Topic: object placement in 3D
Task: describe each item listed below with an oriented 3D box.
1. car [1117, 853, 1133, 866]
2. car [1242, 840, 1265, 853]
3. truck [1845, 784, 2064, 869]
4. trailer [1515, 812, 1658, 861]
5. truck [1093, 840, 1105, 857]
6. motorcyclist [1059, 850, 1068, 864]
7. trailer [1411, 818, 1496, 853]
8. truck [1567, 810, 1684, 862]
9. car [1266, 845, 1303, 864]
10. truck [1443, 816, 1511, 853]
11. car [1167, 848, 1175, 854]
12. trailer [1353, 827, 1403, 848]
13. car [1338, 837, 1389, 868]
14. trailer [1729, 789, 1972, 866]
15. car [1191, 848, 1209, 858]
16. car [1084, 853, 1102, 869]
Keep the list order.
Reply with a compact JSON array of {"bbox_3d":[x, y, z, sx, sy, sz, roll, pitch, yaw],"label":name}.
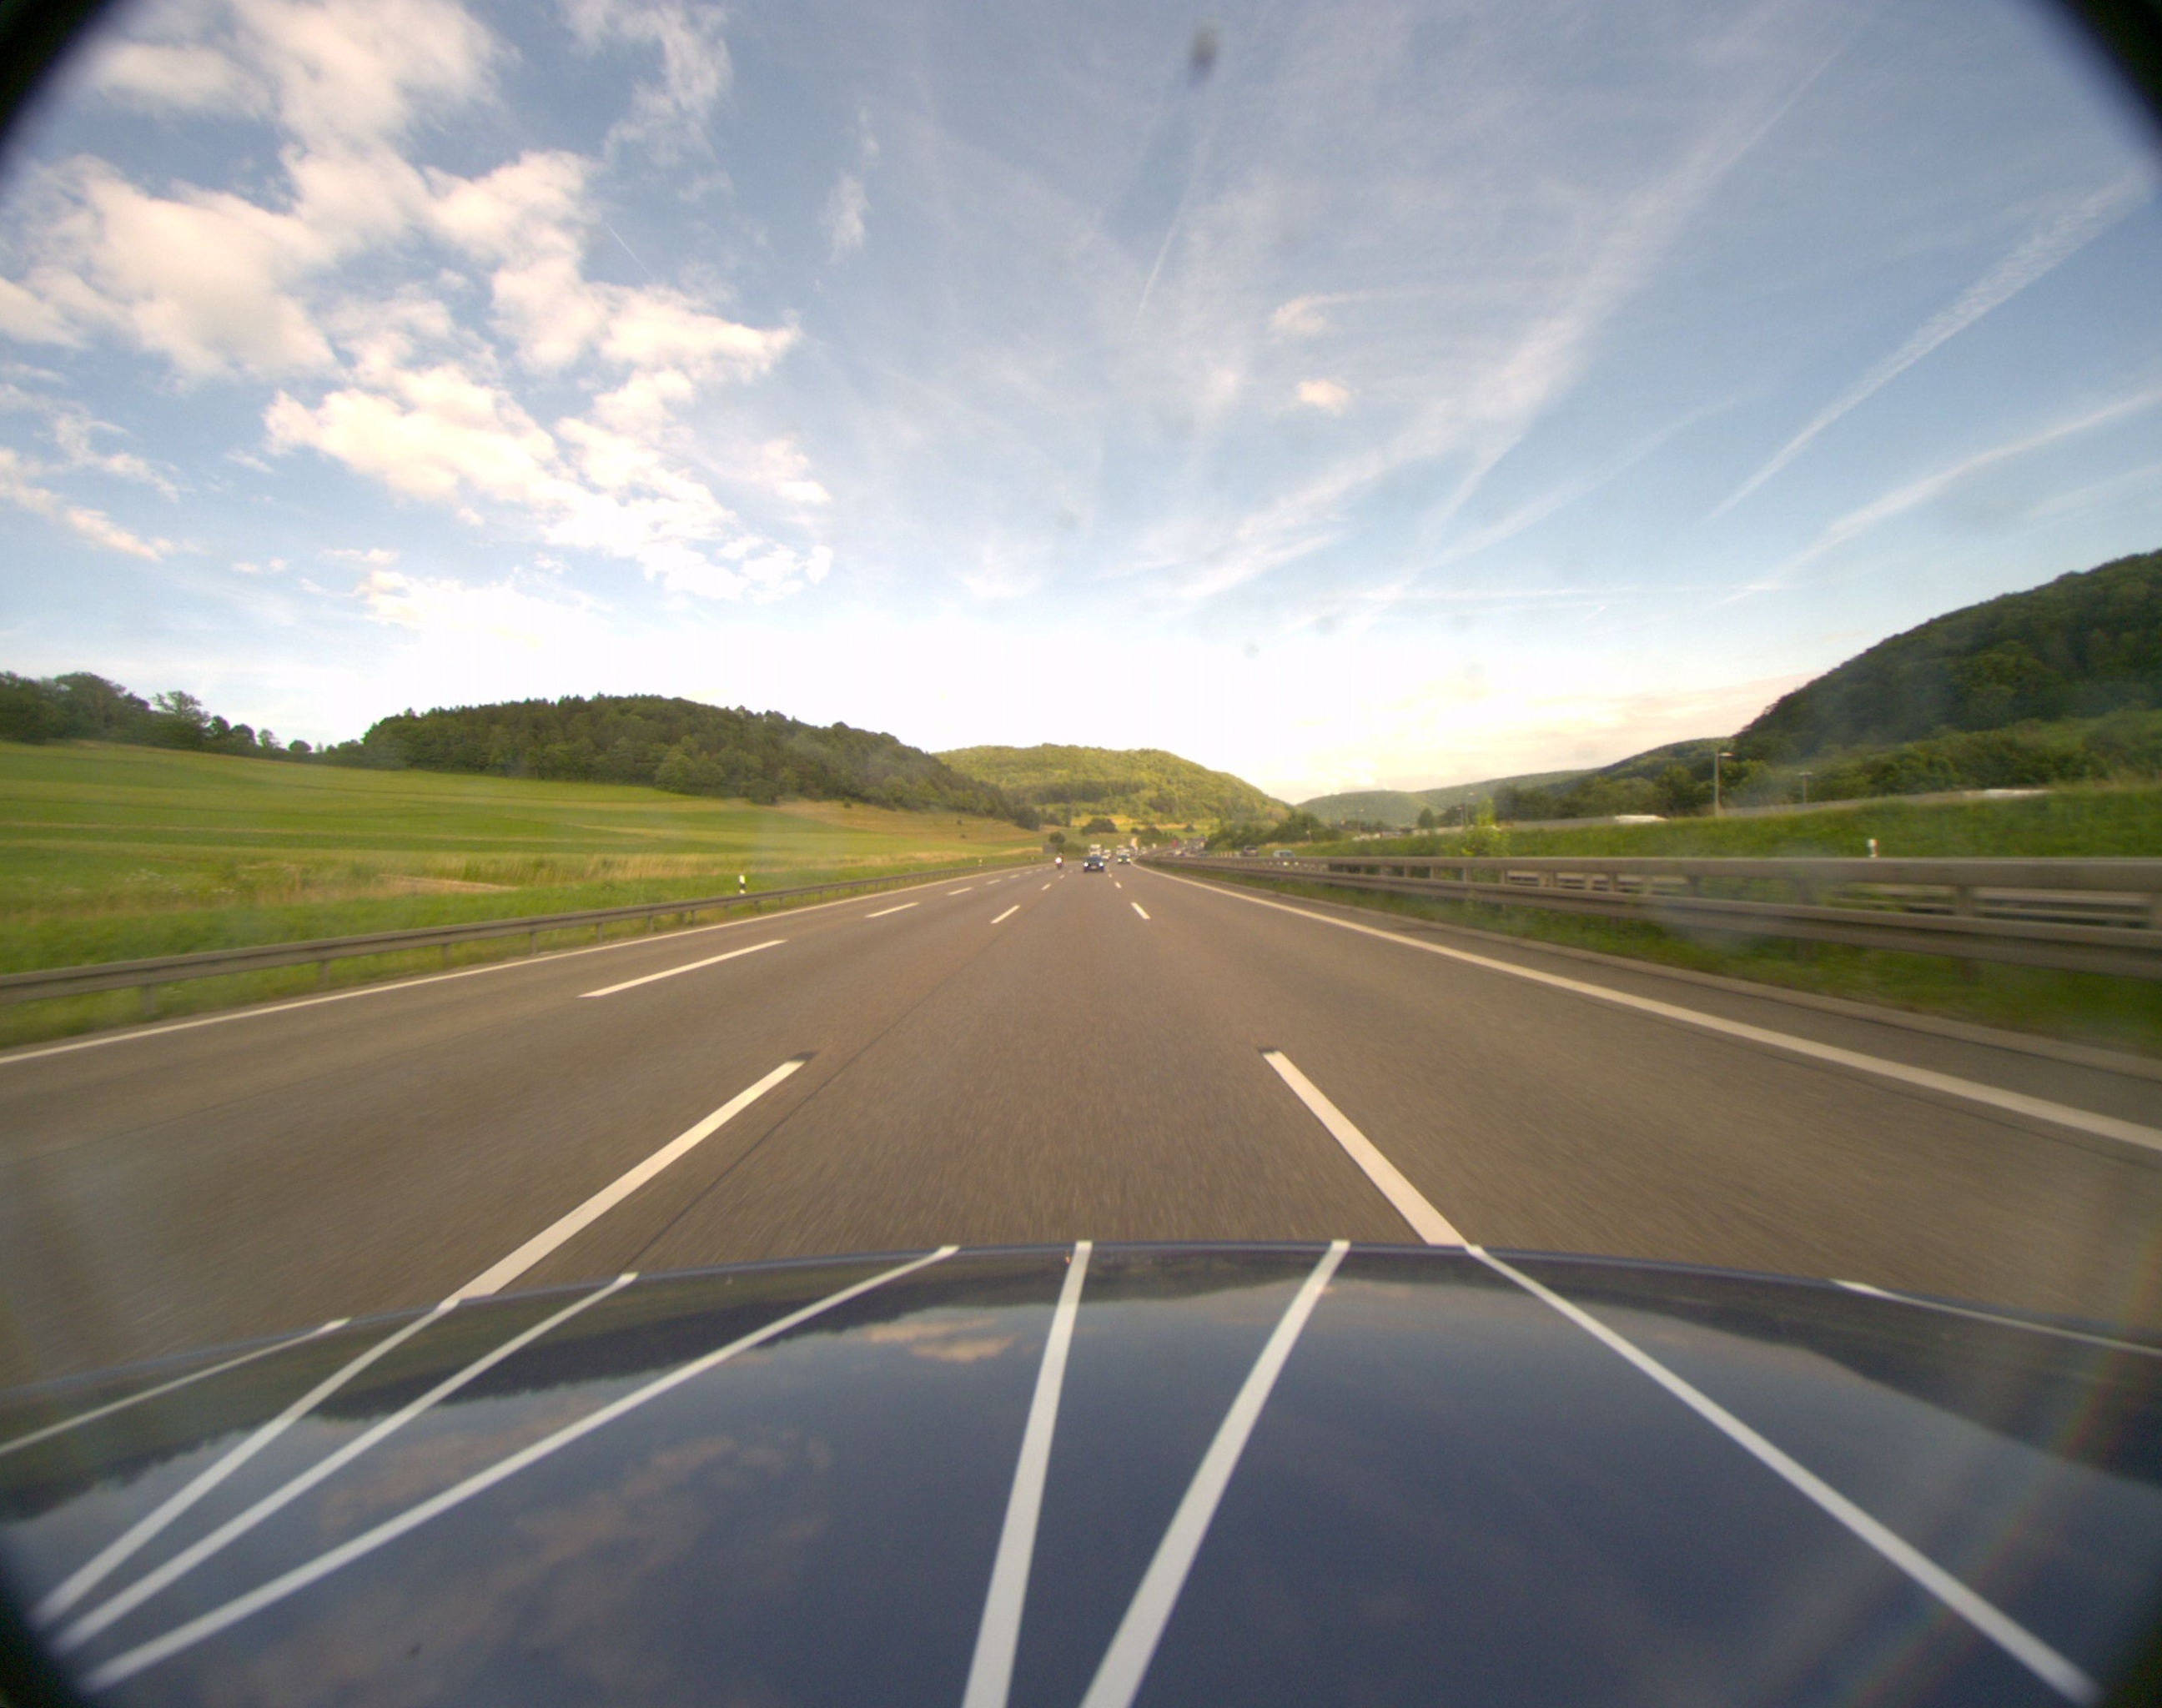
[{"bbox_3d":[6.645,0.882,114.941,1.997,1.871,4.002,0,1,10],"label":"car"},{"bbox_3d":[21.215,-0.951,93.726,1.998,1.608,4.000,-1,0,1],"label":"car"},{"bbox_3d":[41.287,-1.235,36.313,2.888,3.669,6.591,-1,1,0],"label":"truck"},{"bbox_3d":[41.651,-1.463,63.558,2.884,3.675,13.673,0,1,1],"label":"trailer"},{"bbox_3d":[4.833,-1.599,201.550,2.971,3.970,17.729,-1,2,2],"label":"truck"},{"bbox_3d":[-2.005,0.329,85.489,0.878,1.506,0.797,-2,2,6],"label":"motorcyclist"},{"bbox_3d":[42.023,-1.963,86.419,2.884,3.674,13.675,-2,0,0],"label":"trailer"},{"bbox_3d":[41.573,-1.366,58.456,2.888,3.670,8.491,0,1,1],"label":"truck"},{"bbox_3d":[16.298,0.031,60.920,1.956,1.439,3.872,-1,0,0],"label":"car"},{"bbox_3d":[42.050,-1.978,81.068,2.888,3.669,8.492,-1,0,0],"label":"truck"},{"bbox_3d":[23.544,-0.792,199.354,1.811,1.605,4.340,-2,2,3],"label":"car"},{"bbox_3d":[42.704,-2.420,109.704,2.585,2.837,12.260,-2,2,1],"label":"trailer"},{"bbox_3d":[20.005,-0.137,54.019,1.956,2.101,4.520,-1,1,0],"label":"car"},{"bbox_3d":[41.382,-1.292,41.684,2.884,3.675,10.372,-1,0,1],"label":"trailer"},{"bbox_3d":[17.116,-0.123,109.098,1.956,1.467,3.872,-1,0,0],"label":"car"},{"bbox_3d":[1.065,0.588,67.438,1.580,1.310,4.000,-1,0,1],"label":"car"}]
